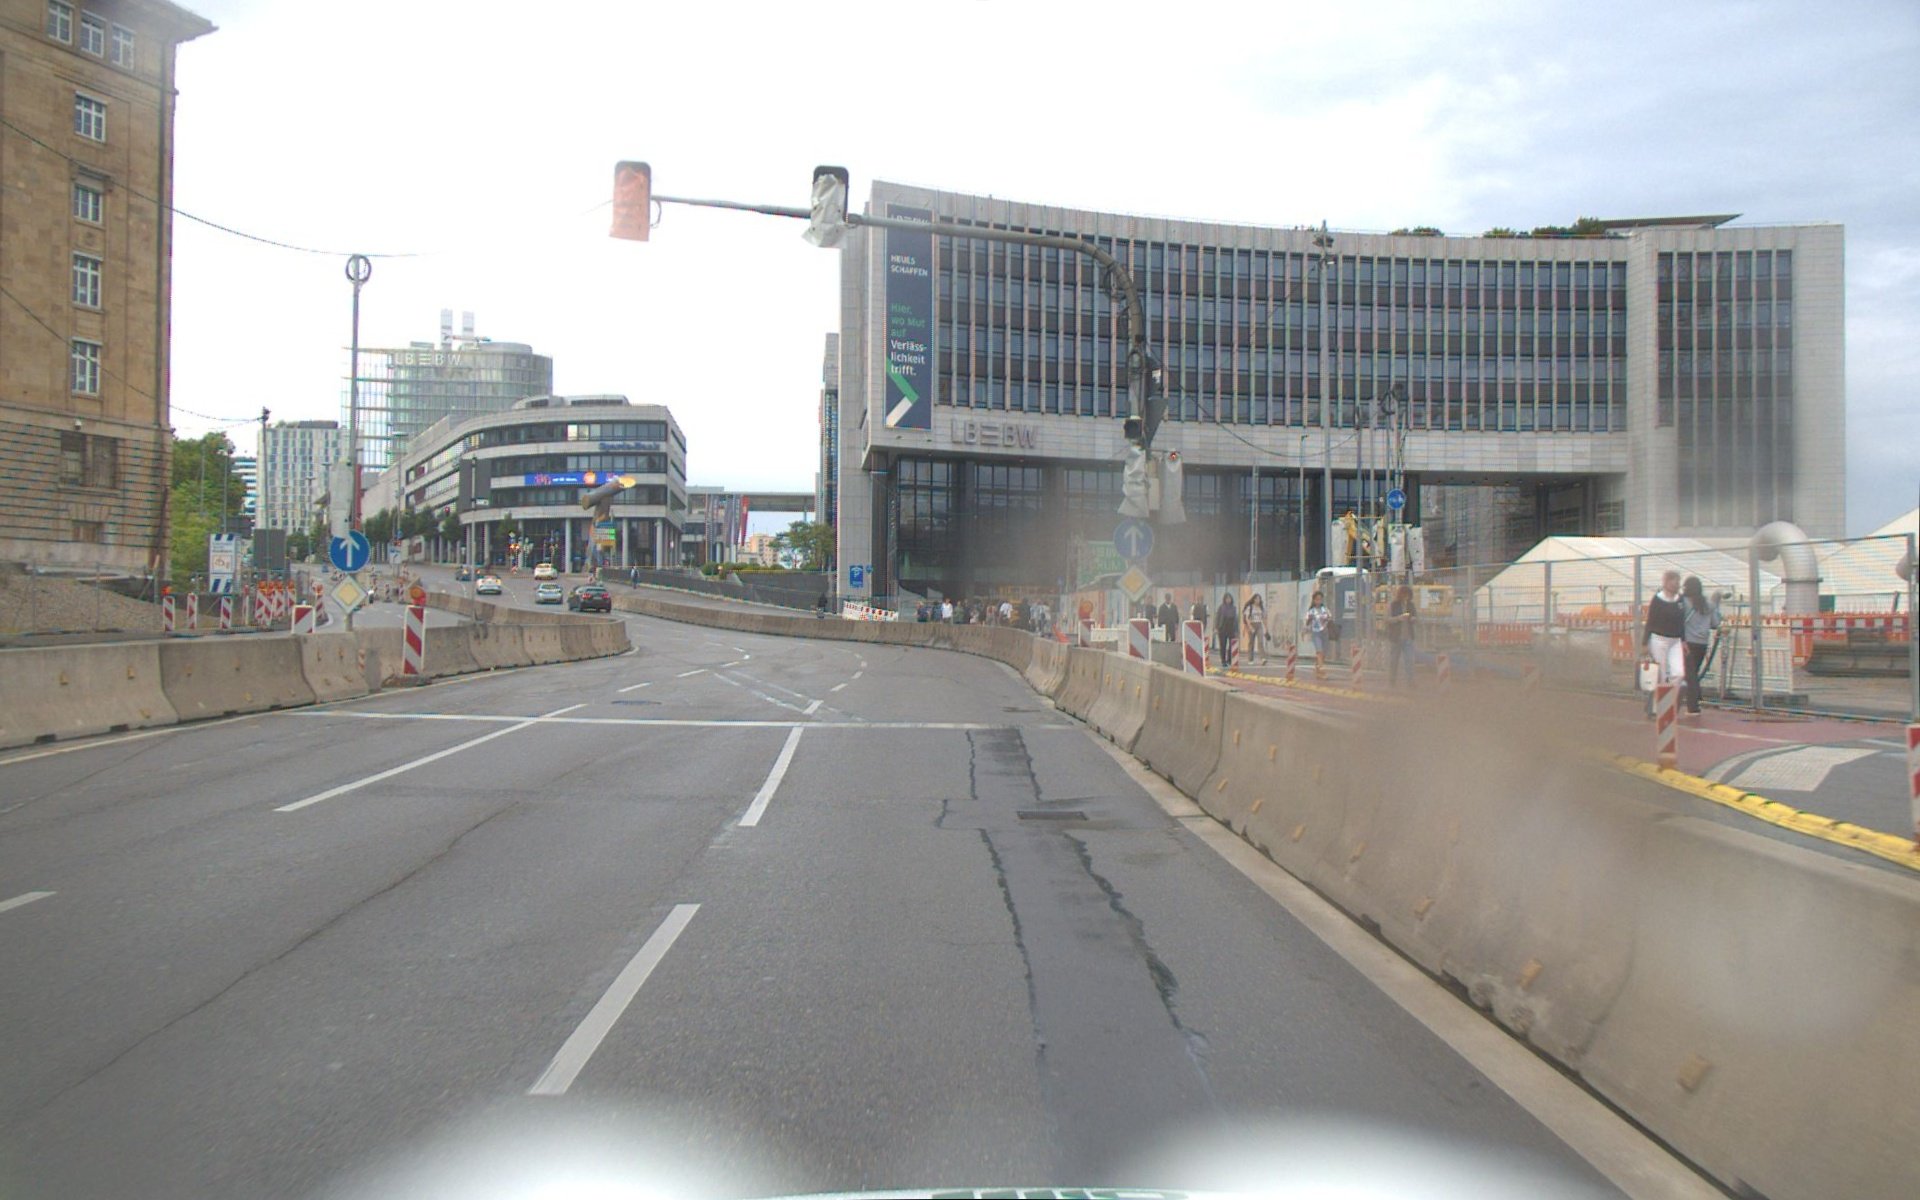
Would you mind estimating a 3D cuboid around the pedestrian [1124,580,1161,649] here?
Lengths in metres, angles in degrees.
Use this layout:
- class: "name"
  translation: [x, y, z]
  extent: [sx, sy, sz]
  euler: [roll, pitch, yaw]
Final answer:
- class: "pedestrian"
  translation: [5.005, 0.390, 45.334]
  extent: [0.803, 1.859, 1.110]
  euler: [0, -1, -5]

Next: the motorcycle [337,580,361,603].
- class: "motorcycle"
  translation: [-30.951, -0.418, 83.792]
  extent: [0.859, 1.168, 2.135]
  euler: [1, -1, -27]

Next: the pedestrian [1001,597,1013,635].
- class: "pedestrian"
  translation: [2.340, 0.806, 81.760]
  extent: [0.518, 1.850, 0.536]
  euler: [1, 0, -3]

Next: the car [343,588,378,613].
- class: "car"
  translation: [-38.171, 0.037, 105.282]
  extent: [1.583, 1.376, 3.719]
  euler: [2, -3, -27]

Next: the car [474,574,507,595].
- class: "car"
  translation: [-36.142, -1.147, 127.213]
  extent: [1.721, 1.532, 3.720]
  euler: [1, -1, -27]

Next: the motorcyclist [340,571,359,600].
- class: "motorcyclist"
  translation: [-30.928, -0.723, 83.816]
  extent: [0.789, 1.476, 0.818]
  euler: [1, -1, -28]

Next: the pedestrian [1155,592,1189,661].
- class: "pedestrian"
  translation: [5.941, 0.739, 46.412]
  extent: [0.764, 1.894, 0.810]
  euler: [1, -1, -6]

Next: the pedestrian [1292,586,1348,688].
- class: "pedestrian"
  translation: [6.872, 0.701, 31.595]
  extent: [0.764, 1.894, 0.948]
  euler: [1, -1, -6]

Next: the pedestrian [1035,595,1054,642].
- class: "pedestrian"
  translation: [3.727, 0.822, 72.646]
  extent: [0.768, 2.049, 0.863]
  euler: [1, 0, 4]

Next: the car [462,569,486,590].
- class: "car"
  translation: [-44.477, -1.846, 151.428]
  extent: [1.961, 1.835, 4.247]
  euler: [1, 0, -16]

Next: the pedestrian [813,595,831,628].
- class: "pedestrian"
  translation: [-7.909, 0.661, 94.635]
  extent: [0.746, 1.822, 1.049]
  euler: [1, -1, -23]

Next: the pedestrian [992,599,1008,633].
- class: "pedestrian"
  translation: [2.008, 0.804, 83.150]
  extent: [0.508, 1.734, 0.566]
  euler: [1, 0, -40]

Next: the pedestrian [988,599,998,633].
- class: "pedestrian"
  translation: [1.672, 0.808, 84.235]
  extent: [0.438, 1.734, 0.647]
  euler: [1, 0, 6]

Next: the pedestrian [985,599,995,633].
- class: "pedestrian"
  translation: [1.540, 0.821, 84.922]
  extent: [0.438, 1.734, 0.647]
  euler: [1, 0, 6]

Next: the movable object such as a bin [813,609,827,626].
- class: "movable object such as a bin"
  translation: [-7.965, 1.012, 93.920]
  extent: [0.590, 0.950, 0.736]
  euler: [2, -2, -24]

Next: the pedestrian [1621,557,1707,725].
- class: "pedestrian"
  translation: [8.108, 0.467, 19.076]
  extent: [0.652, 1.894, 0.682]
  euler: [1, -1, -6]

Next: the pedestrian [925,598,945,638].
- class: "pedestrian"
  translation: [-1.073, 0.764, 69.801]
  extent: [0.647, 1.670, 0.820]
  euler: [1, 0, -14]

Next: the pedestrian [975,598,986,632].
- class: "pedestrian"
  translation: [1.045, 0.749, 84.892]
  extent: [0.440, 1.734, 0.645]
  euler: [1, 0, -9]

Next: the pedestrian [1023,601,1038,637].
- class: "pedestrian"
  translation: [3.410, 0.935, 80.231]
  extent: [0.613, 1.734, 0.646]
  euler: [1, 0, -4]

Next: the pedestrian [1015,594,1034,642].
- class: "pedestrian"
  translation: [2.834, 0.783, 72.687]
  extent: [0.768, 2.049, 0.863]
  euler: [1, 0, 4]

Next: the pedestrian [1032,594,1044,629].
- class: "pedestrian"
  translation: [3.859, 0.558, 81.966]
  extent: [0.490, 1.734, 0.732]
  euler: [1, 0, -4]

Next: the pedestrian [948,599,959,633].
- class: "pedestrian"
  translation: [-0.328, 0.824, 84.544]
  extent: [0.439, 1.734, 0.646]
  euler: [1, 0, -7]

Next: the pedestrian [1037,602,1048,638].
- class: "pedestrian"
  translation: [4.008, 0.974, 80.269]
  extent: [0.439, 1.734, 0.646]
  euler: [1, 0, -4]

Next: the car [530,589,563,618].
- class: "car"
  translation: [-28.356, 0.239, 113.346]
  extent: [1.714, 1.908, 3.753]
  euler: [1, 0, -21]

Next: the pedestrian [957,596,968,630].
- class: "pedestrian"
  translation: [0.141, 0.647, 84.653]
  extent: [0.445, 1.734, 0.646]
  euler: [1, 0, -7]

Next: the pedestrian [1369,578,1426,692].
- class: "pedestrian"
  translation: [7.420, 0.581, 28.081]
  extent: [0.676, 1.894, 0.810]
  euler: [1, -1, -6]

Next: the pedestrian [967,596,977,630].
- class: "pedestrian"
  translation: [0.609, 0.678, 84.725]
  extent: [0.439, 1.734, 0.646]
  euler: [1, 0, -7]

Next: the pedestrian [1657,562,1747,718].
- class: "pedestrian"
  translation: [9.185, 0.488, 20.488]
  extent: [0.771, 1.894, 0.682]
  euler: [1, -1, -6]

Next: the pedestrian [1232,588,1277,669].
- class: "pedestrian"
  translation: [6.983, 0.664, 39.267]
  extent: [0.764, 1.894, 1.057]
  euler: [1, -1, -6]

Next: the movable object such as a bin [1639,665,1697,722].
- class: "movable object such as a bin"
  translation: [8.396, 1.104, 19.634]
  extent: [0.425, 0.635, 0.534]
  euler: [1, 0, -6]

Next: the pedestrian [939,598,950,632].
- class: "pedestrian"
  translation: [-0.805, 0.781, 84.482]
  extent: [0.439, 1.734, 0.646]
  euler: [1, 0, -7]

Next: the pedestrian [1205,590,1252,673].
- class: "pedestrian"
  translation: [6.221, 0.723, 38.375]
  extent: [0.853, 1.894, 0.947]
  euler: [1, -1, -6]

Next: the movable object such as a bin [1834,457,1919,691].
- class: "movable object such as a bin"
  translation: [16.879, -0.394, 26.637]
  extent: [3.844, 3.553, 4.359]
  euler: [0, 0, 11]

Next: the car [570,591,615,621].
- class: "car"
  translation: [-20.670, 0.353, 93.065]
  extent: [1.654, 1.535, 3.713]
  euler: [2, -3, -26]

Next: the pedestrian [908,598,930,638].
- class: "pedestrian"
  translation: [-1.744, 0.743, 69.627]
  extent: [0.738, 1.670, 0.820]
  euler: [1, 0, -15]

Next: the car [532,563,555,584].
- class: "car"
  translation: [-39.266, -2.472, 155.746]
  extent: [1.961, 1.835, 4.247]
  euler: [1, 0, -16]

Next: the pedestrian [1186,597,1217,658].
- class: "pedestrian"
  translation: [7.612, 0.865, 52.140]
  extent: [0.764, 1.894, 0.810]
  euler: [0, 0, -6]
